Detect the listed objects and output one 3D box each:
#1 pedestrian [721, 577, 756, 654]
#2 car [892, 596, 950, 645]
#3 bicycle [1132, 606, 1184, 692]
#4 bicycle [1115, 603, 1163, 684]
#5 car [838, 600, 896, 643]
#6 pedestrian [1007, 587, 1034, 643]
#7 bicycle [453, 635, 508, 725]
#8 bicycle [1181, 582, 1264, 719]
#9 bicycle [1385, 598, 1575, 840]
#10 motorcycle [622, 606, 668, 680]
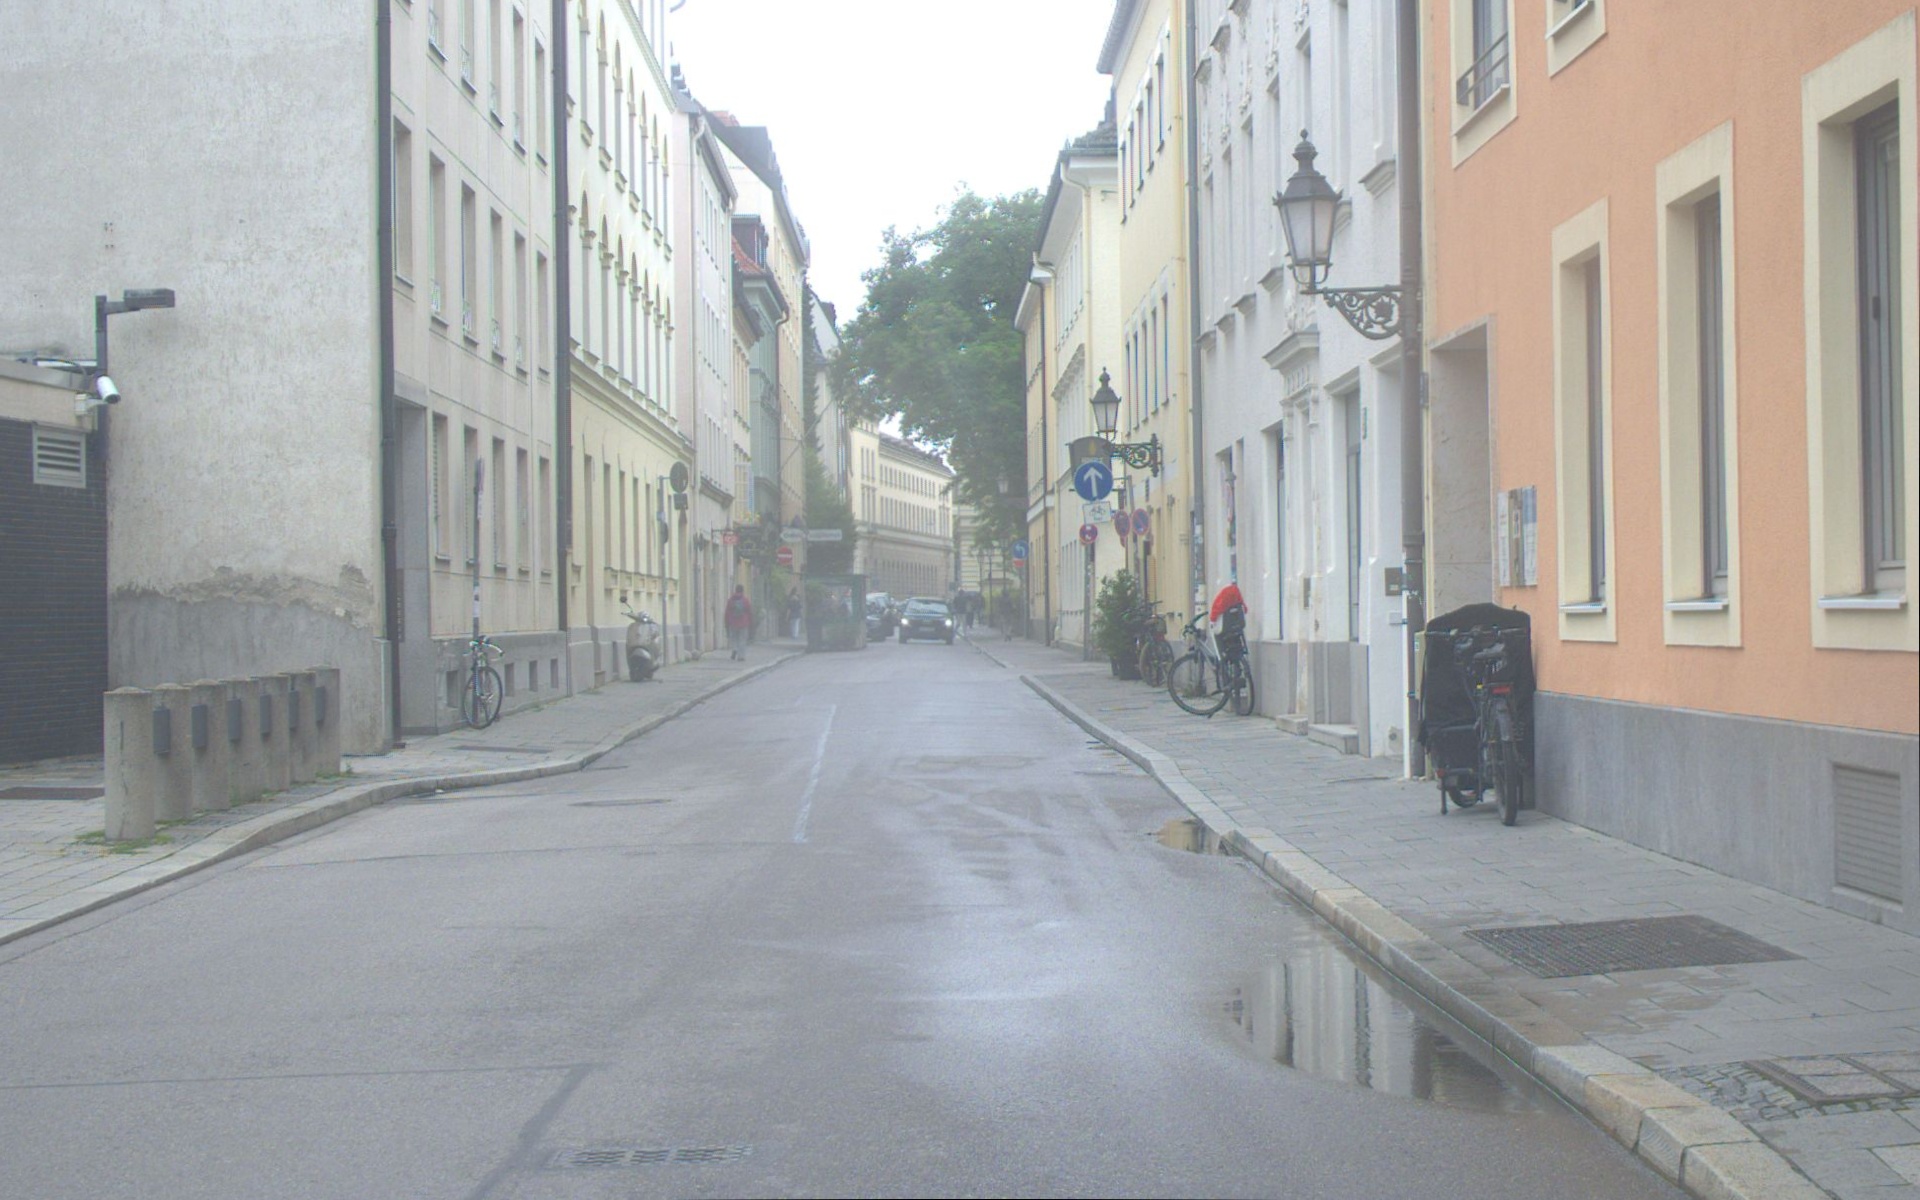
[{"bbox_3d":[-5.021,0.349,77.954,0.765,1.702,0.785,-1,0,-3],"label":"pedestrian"},{"bbox_3d":[-1.302,0.658,113.388,1.812,1.588,4.000,-1,0,-2],"label":"car"},{"bbox_3d":[2.749,0.665,47.837,0.565,1.133,1.987,-3,0,0],"label":"bicycle"},{"bbox_3d":[2.602,0.621,50.122,0.565,1.133,1.684,-3,0,0],"label":"bicycle"},{"bbox_3d":[-3.215,0.732,119.284,1.779,1.461,3.662,0,0,2],"label":"car"},{"bbox_3d":[1.966,0.493,111.914,0.880,1.796,1.046,0,0,0],"label":"pedestrian"},{"bbox_3d":[-5.255,0.866,37.750,0.320,0.940,1.574,2,0,1],"label":"bicycle"},{"bbox_3d":[2.796,0.518,36.817,0.713,1.391,2.121,-3,0,2],"label":"bicycle"},{"bbox_3d":[2.970,0.646,19.873,0.679,1.236,2.382,-5,0,1],"label":"bicycle"},{"bbox_3d":[-5.120,0.691,55.961,0.602,1.170,1.708,0,0,0],"label":"motorcycle"}]
